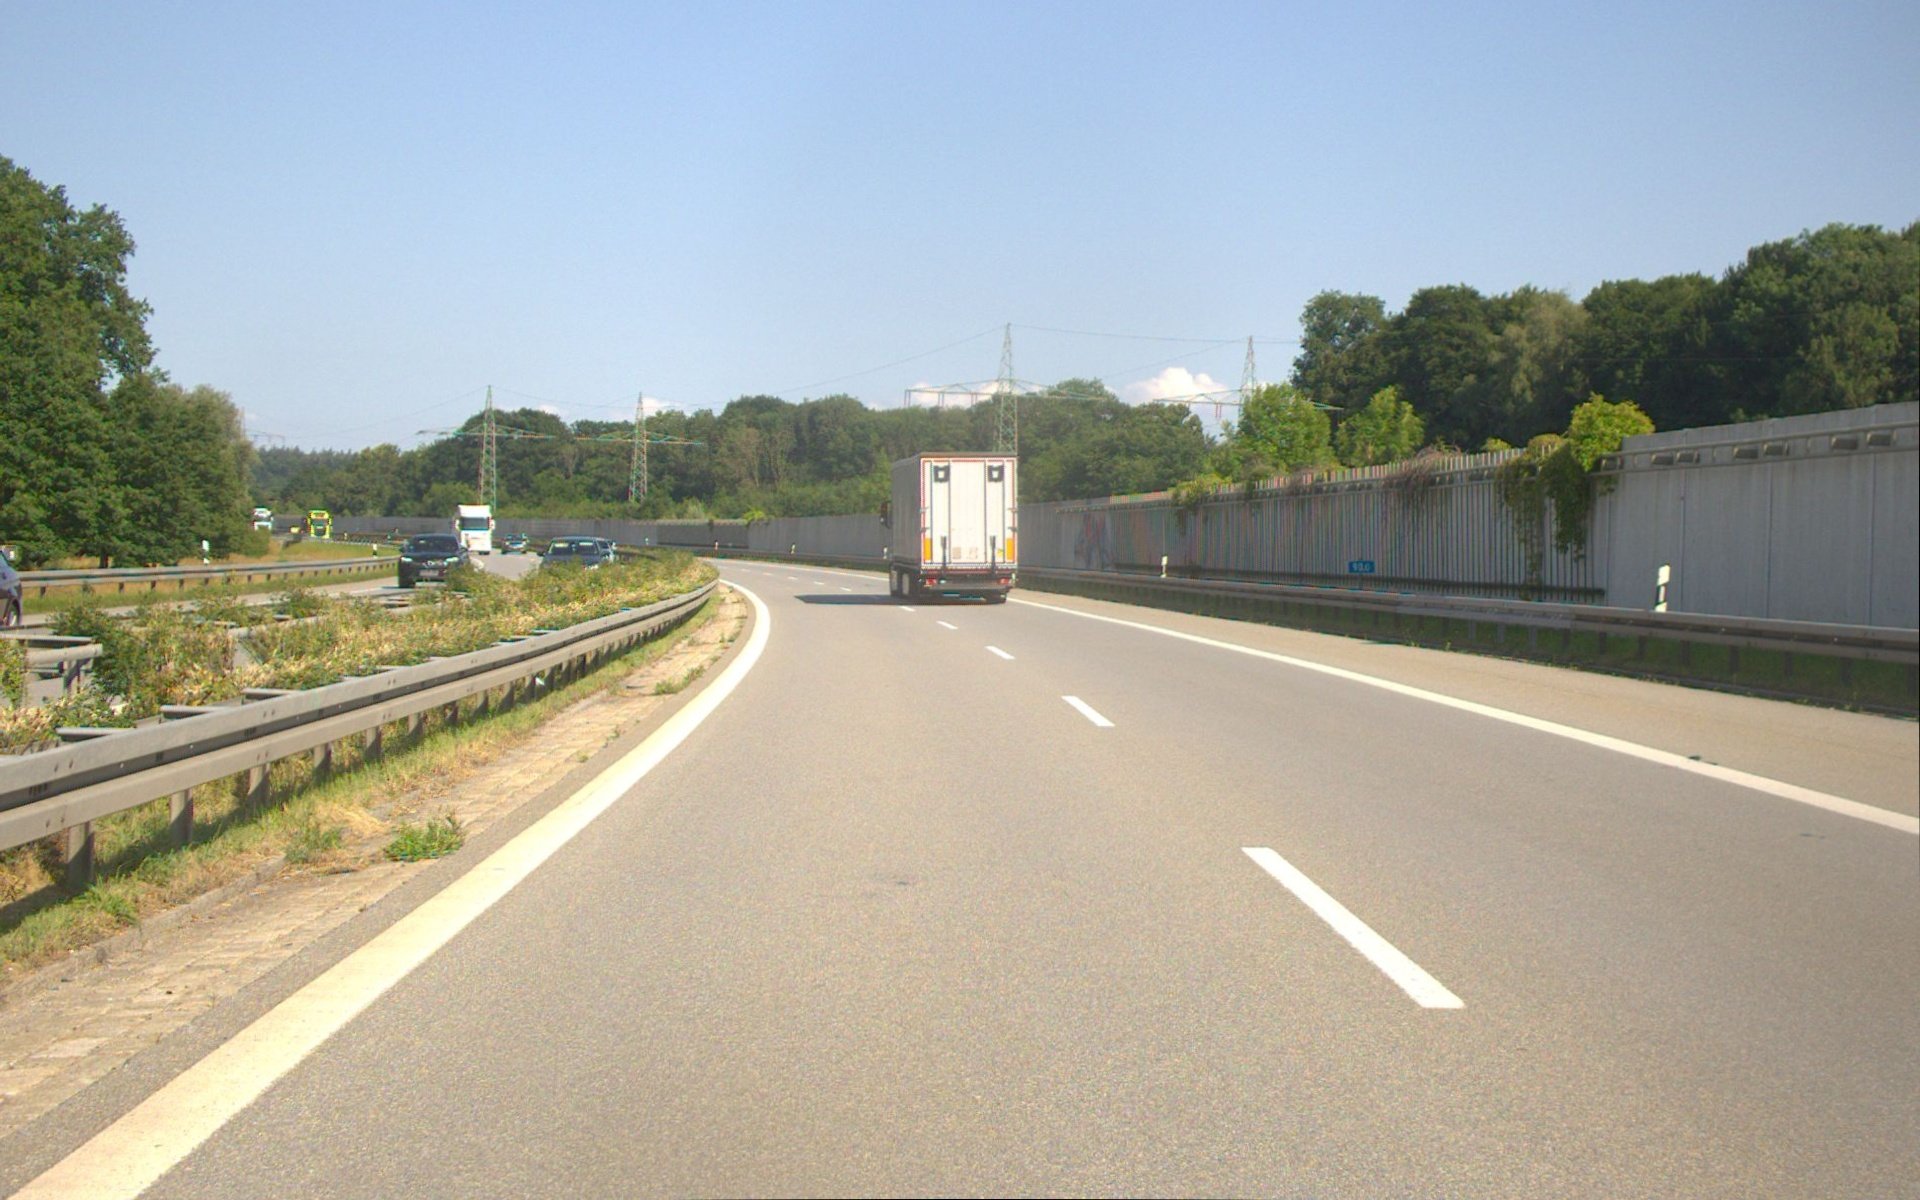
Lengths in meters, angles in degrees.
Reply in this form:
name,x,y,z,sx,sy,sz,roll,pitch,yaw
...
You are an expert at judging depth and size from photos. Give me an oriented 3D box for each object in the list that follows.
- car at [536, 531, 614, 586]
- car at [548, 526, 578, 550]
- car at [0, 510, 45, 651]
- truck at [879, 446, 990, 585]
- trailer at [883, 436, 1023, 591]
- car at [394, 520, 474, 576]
name,x,y,z,sx,sy,sz,roll,pitch,yaw
car,-10.715,-1.168,95.887,1.853,1.477,4.001,0,1,-2
car,-24.552,-3.816,212.564,1.659,1.445,4.248,-1,1,-9
car,-10.875,-0.210,35.546,1.773,1.465,4.507,1,1,-2
truck,-0.820,-2.483,102.424,2.830,3.998,6.588,0,1,-5
trailer,-0.327,-2.366,95.968,2.884,4.052,12.422,0,1,-5
car,-15.726,-1.570,102.901,1.853,1.628,4.494,0,1,-2
